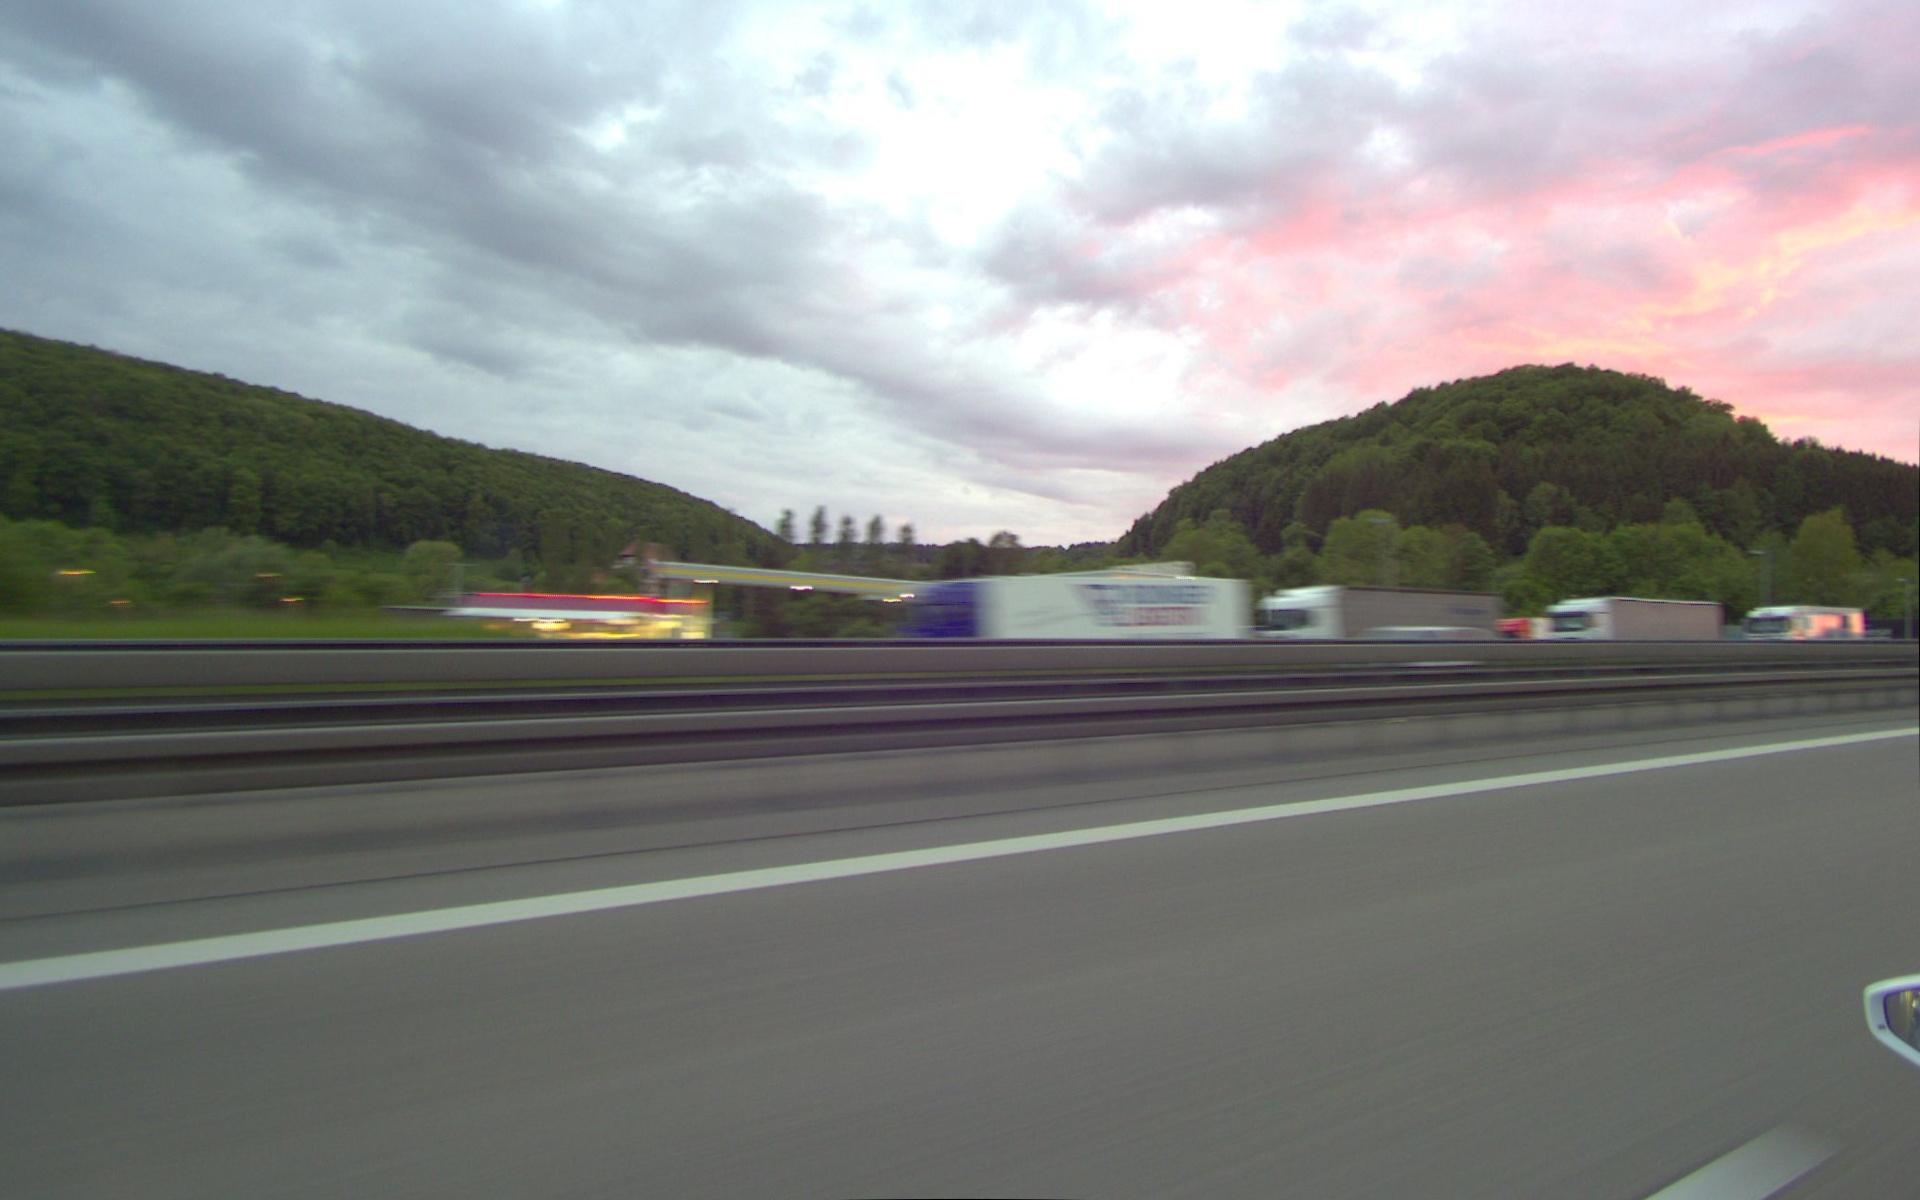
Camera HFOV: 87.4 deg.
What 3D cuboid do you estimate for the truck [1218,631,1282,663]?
[{"bbox_3d":[33.309,5.341,115.513,6.578,3.565,2.942,0,-1,4],"label":"truck"}]

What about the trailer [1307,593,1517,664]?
[{"bbox_3d":[24.142,1.480,53.155,13.408,3.470,2.860,1,0,-30],"label":"trailer"}]

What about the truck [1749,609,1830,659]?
[{"bbox_3d":[60.650,2.438,73.427,6.657,3.470,2.855,1,0,-34],"label":"truck"}]

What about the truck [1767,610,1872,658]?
[{"bbox_3d":[66.434,2.569,77.459,13.651,3.470,2.855,1,-1,-35],"label":"truck"}]

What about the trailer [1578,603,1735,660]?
[{"bbox_3d":[45.598,2.015,65.531,13.686,3.470,2.860,1,0,-30],"label":"trailer"}]

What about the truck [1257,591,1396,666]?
[{"bbox_3d":[18.192,1.382,49.731,6.645,3.470,2.860,1,0,-30],"label":"truck"}]

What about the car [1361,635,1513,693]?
[{"bbox_3d":[14.835,1.939,31.194,4.685,1.615,1.984,1,-1,-30],"label":"car"}]

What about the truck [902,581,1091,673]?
[{"bbox_3d":[1.507,1.058,40.211,7.087,3.420,2.861,1,0,-29],"label":"truck"}]

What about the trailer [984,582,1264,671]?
[{"bbox_3d":[7.392,1.133,43.534,13.063,3.470,2.861,1,0,-29],"label":"trailer"}]

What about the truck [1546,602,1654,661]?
[{"bbox_3d":[39.555,1.903,62.049,6.645,3.470,2.860,1,0,-30],"label":"truck"}]

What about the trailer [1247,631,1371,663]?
[{"bbox_3d":[39.911,5.351,115.107,13.149,3.565,2.942,0,-1,4],"label":"trailer"}]

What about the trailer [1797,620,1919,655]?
[{"bbox_3d":[100.777,4.140,111.525,13.079,3.728,3.072,1,0,0],"label":"trailer"}]
